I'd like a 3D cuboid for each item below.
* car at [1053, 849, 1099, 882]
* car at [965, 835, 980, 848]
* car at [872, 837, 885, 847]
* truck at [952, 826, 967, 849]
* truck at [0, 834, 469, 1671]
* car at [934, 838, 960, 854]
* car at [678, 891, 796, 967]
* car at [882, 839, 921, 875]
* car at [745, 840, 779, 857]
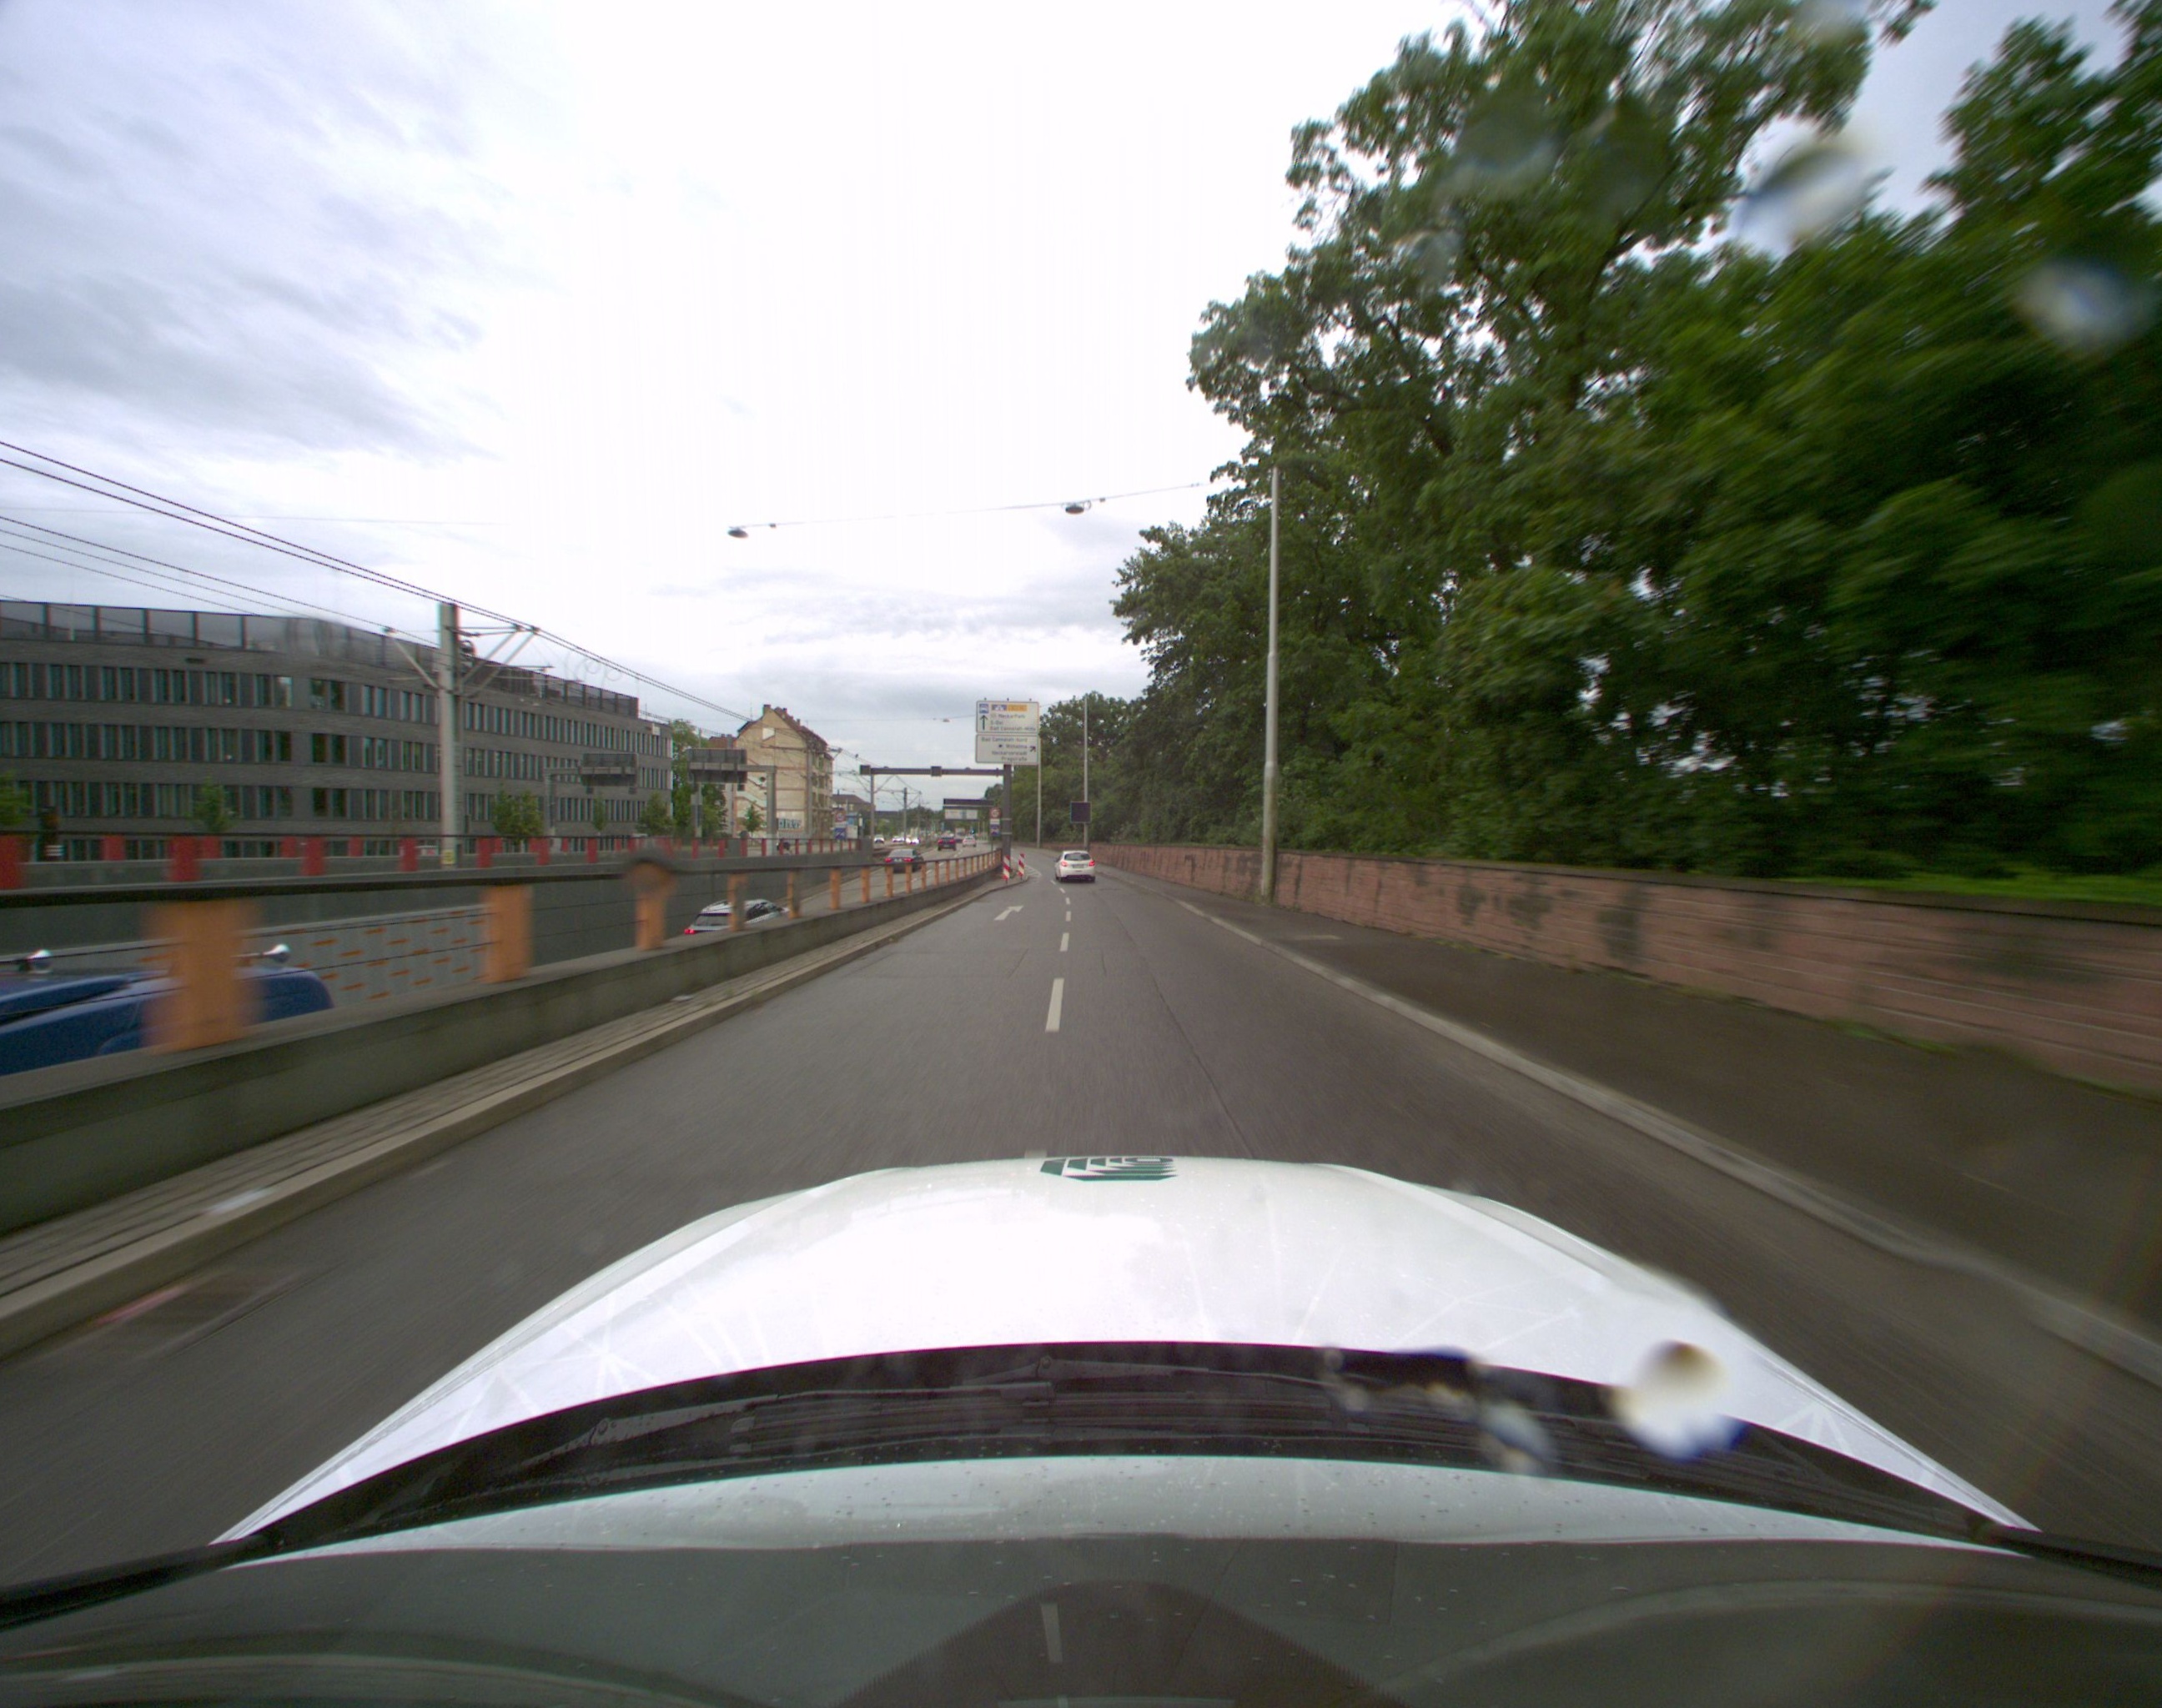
[{"bbox_3d":[-0.284,0.599,39.408,1.952,1.488,3.993,1,-2,-5],"label":"car"},{"bbox_3d":[-15.624,-1.782,117.058,2.081,1.872,4.084,-1,0,-8],"label":"car"},{"bbox_3d":[-43.480,-2.530,174.943,1.993,2.118,5.095,1,0,-9],"label":"car"},{"bbox_3d":[-32.448,-4.271,217.710,3.462,5.402,12.017,1,-2,-7],"label":"truck"},{"bbox_3d":[-6.824,2.027,3.808,2.754,4.196,6.782,-1,1,-1],"label":"truck"},{"bbox_3d":[-13.393,-0.818,81.659,1.988,1.575,3.999,-1,0,-1],"label":"car"},{"bbox_3d":[-10.231,2.174,24.594,1.816,1.565,4.091,-2,4,-2],"label":"car"},{"bbox_3d":[-10.937,0.138,49.791,1.717,1.890,3.534,0,4,-2],"label":"car"},{"bbox_3d":[-32.462,-0.536,82.947,1.818,1.584,3.833,1,2,2],"label":"car"}]
